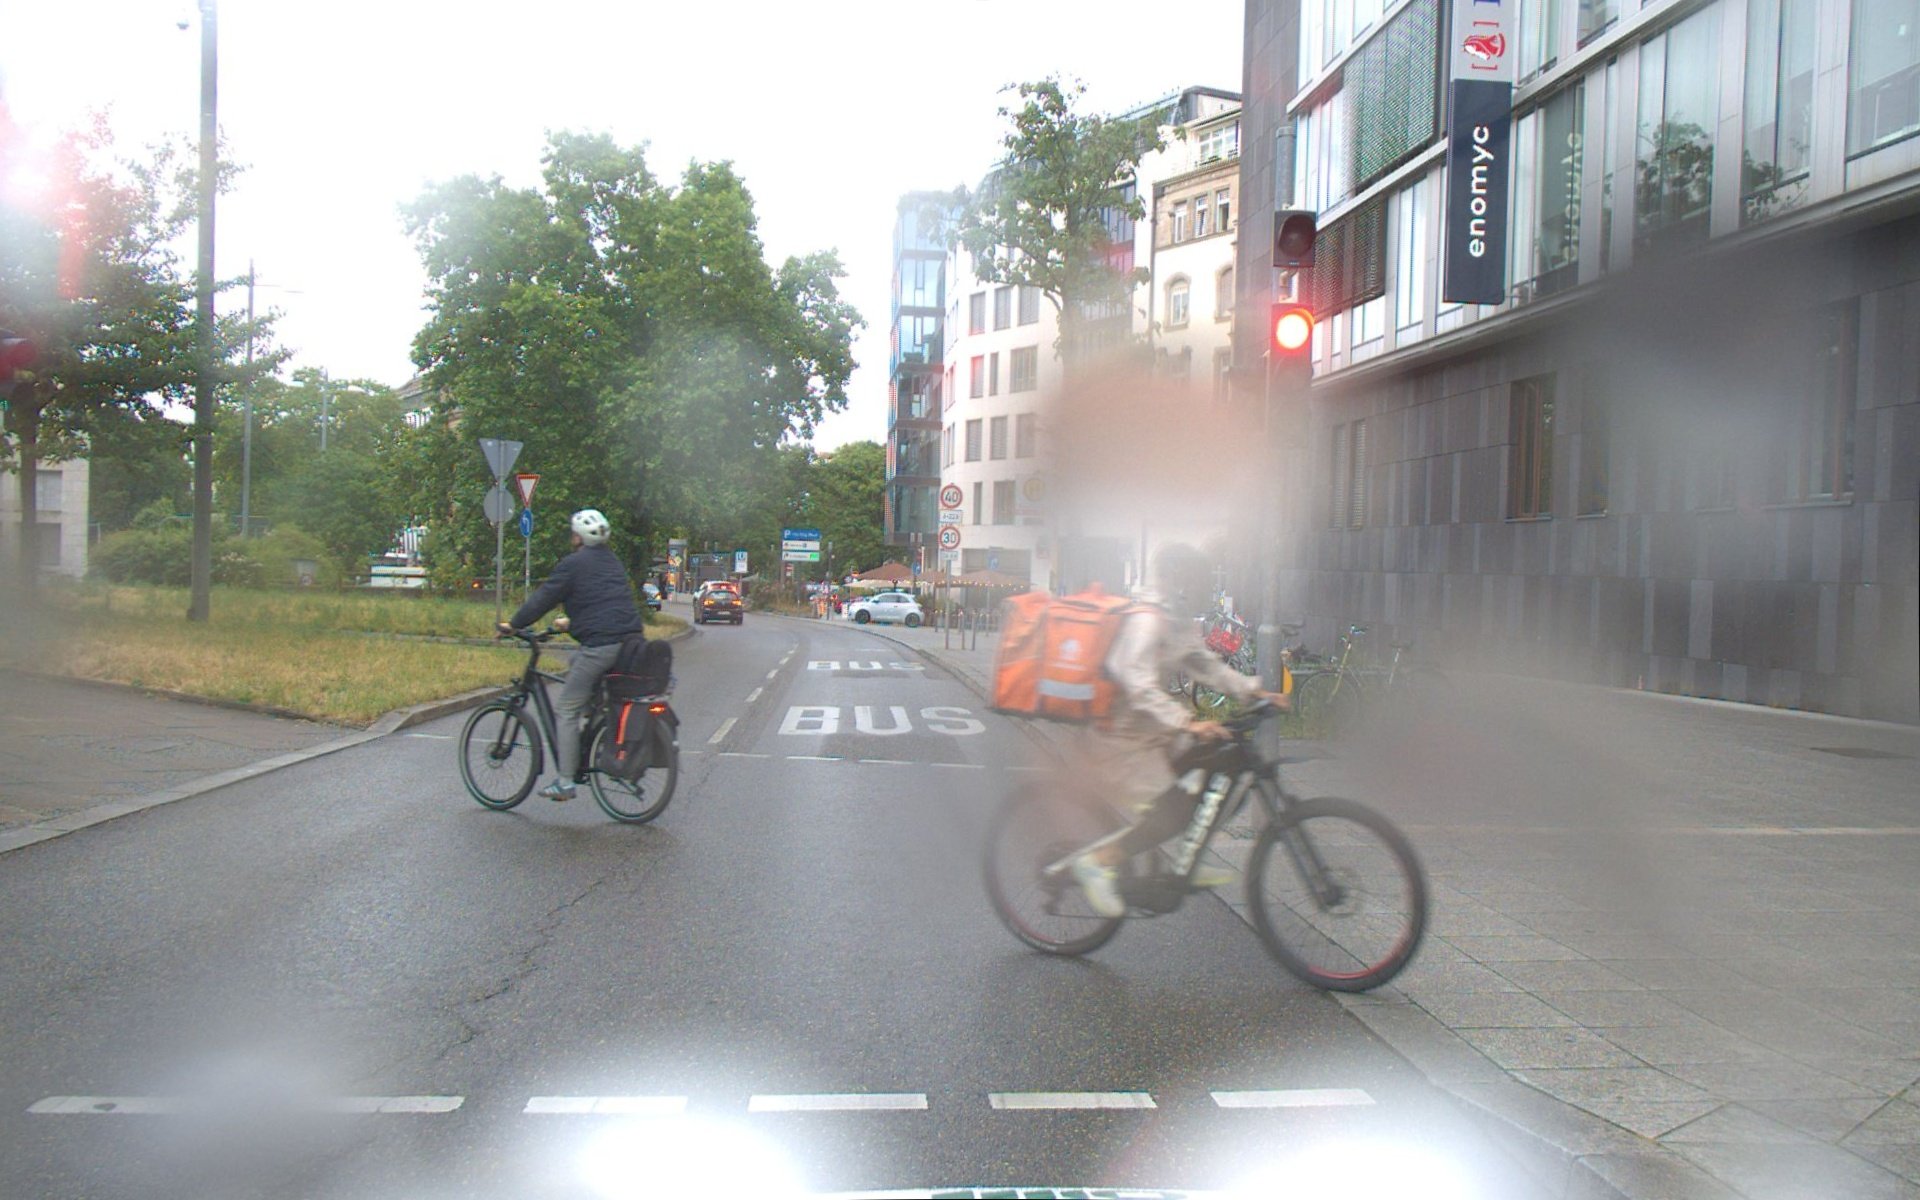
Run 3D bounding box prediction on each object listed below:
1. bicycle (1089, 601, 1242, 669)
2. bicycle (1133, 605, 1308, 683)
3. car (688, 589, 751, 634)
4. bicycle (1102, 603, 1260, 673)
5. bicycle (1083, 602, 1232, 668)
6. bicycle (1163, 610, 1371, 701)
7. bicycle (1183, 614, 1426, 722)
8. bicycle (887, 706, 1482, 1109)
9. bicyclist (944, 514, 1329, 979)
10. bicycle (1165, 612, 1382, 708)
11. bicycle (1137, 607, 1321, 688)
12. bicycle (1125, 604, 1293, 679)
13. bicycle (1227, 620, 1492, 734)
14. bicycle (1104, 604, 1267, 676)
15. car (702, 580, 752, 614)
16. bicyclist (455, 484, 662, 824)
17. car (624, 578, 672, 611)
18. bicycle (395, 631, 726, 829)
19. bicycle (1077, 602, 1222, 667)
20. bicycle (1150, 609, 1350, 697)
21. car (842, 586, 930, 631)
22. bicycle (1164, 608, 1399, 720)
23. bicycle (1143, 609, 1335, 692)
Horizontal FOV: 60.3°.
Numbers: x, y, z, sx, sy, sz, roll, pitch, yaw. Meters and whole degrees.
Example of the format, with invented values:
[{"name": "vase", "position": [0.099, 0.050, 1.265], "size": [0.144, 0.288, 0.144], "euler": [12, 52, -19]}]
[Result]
[{"name": "bicycle", "position": [3.487, 0.596, 28.103], "size": [2.486, 1.106, 0.677], "euler": [1, 0, -6]}, {"name": "bicycle", "position": [3.873, 0.647, 24.650], "size": [2.486, 1.106, 0.677], "euler": [1, 0, -6]}, {"name": "car", "position": [-10.179, 0.464, 69.693], "size": [2.125, 1.735, 4.537], "euler": [2, 0, -14]}, {"name": "bicycle", "position": [3.622, 0.614, 27.216], "size": [2.486, 1.106, 0.677], "euler": [1, 0, -6]}, {"name": "bicycle", "position": [3.430, 0.605, 28.849], "size": [2.486, 1.106, 0.677], "euler": [1, 0, -6]}, {"name": "bicycle", "position": [3.861, 0.695, 20.867], "size": [2.486, 1.106, 0.677], "euler": [1, 0, -6]}, {"name": "bicycle", "position": [3.726, 0.729, 17.981], "size": [2.487, 1.106, 0.677], "euler": [1, 0, -6]}, {"name": "bicycle", "position": [0.862, 1.084, 6.470], "size": [2.023, 1.133, 1.009], "euler": [4, 0, 31]}, {"name": "bicyclist", "position": [0.720, 0.521, 6.574], "size": [1.112, 1.609, 1.012], "euler": [4, 0, 31]}, {"name": "bicycle", "position": [3.776, 0.717, 20.011], "size": [2.486, 1.106, 0.677], "euler": [1, 0, -6]}, {"name": "bicycle", "position": [3.800, 0.666, 23.452], "size": [2.486, 1.106, 0.677], "euler": [1, 0, -6]}, {"name": "bicycle", "position": [3.847, 0.642, 25.628], "size": [2.486, 1.106, 0.677], "euler": [1, 0, -6]}, {"name": "bicycle", "position": [3.971, 0.760, 16.508], "size": [2.487, 1.075, 0.677], "euler": [1, 0, -6]}, {"name": "bicycle", "position": [3.599, 0.632, 26.463], "size": [2.486, 1.106, 0.677], "euler": [1, 0, -6]}, {"name": "car", "position": [-12.702, -0.159, 89.966], "size": [2.144, 1.730, 3.982], "euler": [2, 0, -16]}, {"name": "bicyclist", "position": [-2.639, 0.332, 10.901], "size": [1.060, 2.119, 0.763], "euler": [1, 0, 24]}, {"name": "car", "position": [-17.162, -0.323, 90.756], "size": [1.916, 1.675, 4.221], "euler": [2, 0, -20]}, {"name": "bicycle", "position": [-2.643, 0.813, 10.916], "size": [2.083, 1.165, 0.763], "euler": [1, 0, 24]}, {"name": "bicycle", "position": [3.384, 0.610, 29.570], "size": [2.486, 1.106, 0.627], "euler": [1, 0, -6]}, {"name": "bicycle", "position": [3.793, 0.686, 21.676], "size": [2.486, 1.106, 0.677], "euler": [1, 0, -6]}, {"name": "car", "position": [-3.398, 0.370, 76.372], "size": [3.908, 1.675, 1.999], "euler": [6, 0, -2]}, {"name": "bicycle", "position": [3.639, 0.716, 18.783], "size": [2.487, 1.106, 0.677], "euler": [3, 0, -6]}, {"name": "bicycle", "position": [3.785, 0.684, 22.543], "size": [2.486, 1.078, 0.677], "euler": [1, 0, -6]}]
